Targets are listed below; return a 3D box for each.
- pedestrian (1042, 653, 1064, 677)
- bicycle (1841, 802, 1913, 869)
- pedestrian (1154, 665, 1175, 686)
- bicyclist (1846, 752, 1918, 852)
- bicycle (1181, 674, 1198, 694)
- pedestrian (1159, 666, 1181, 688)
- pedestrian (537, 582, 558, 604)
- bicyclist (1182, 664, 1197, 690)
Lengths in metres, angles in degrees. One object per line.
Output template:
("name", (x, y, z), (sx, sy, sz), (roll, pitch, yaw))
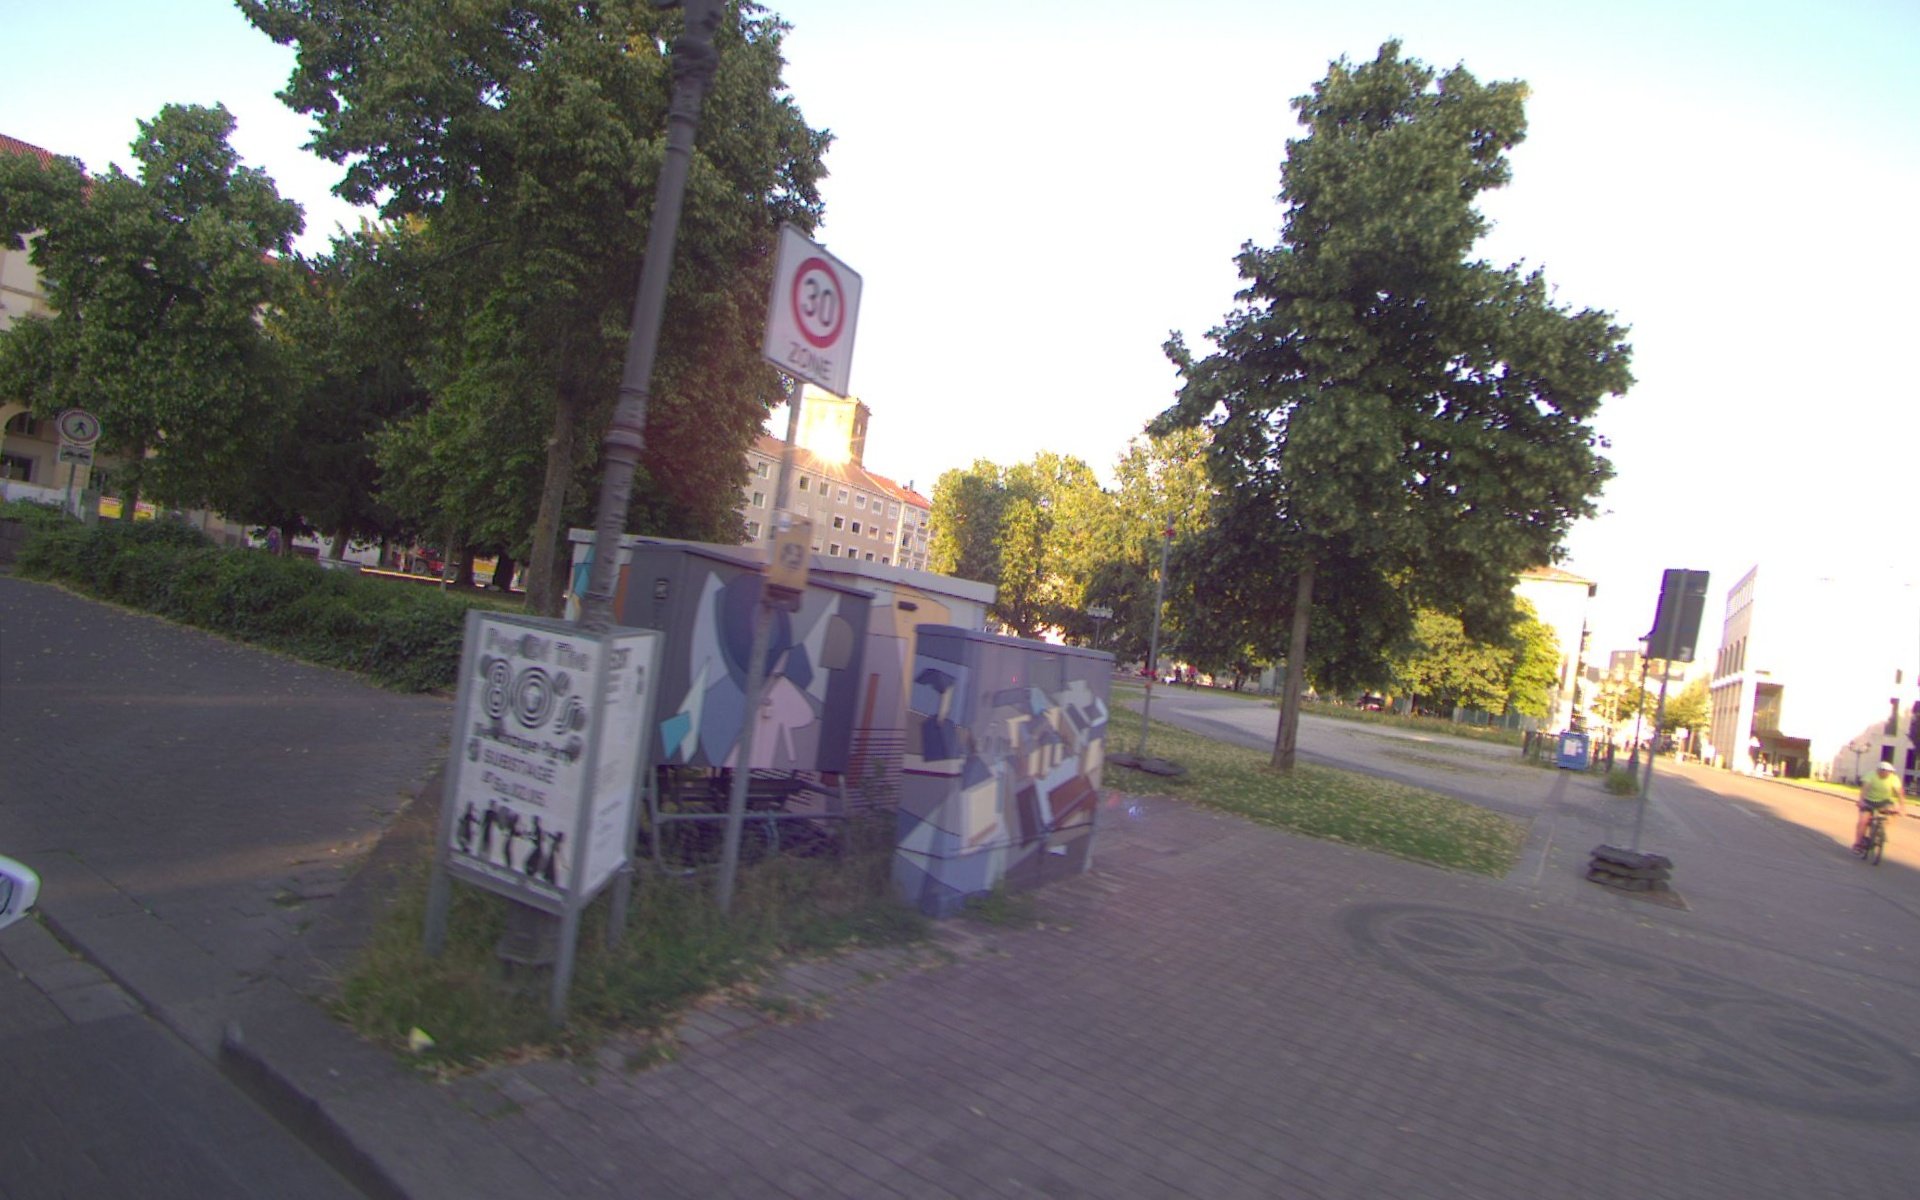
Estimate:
("pedestrian", (5.347, 3.756, 58.042), (0.724, 1.214, 1.104), (7, -1, 32))
("bicycle", (15.756, 4.034, 17.319), (0.537, 0.877, 1.711), (7, -2, 33))
("pedestrian", (15.174, 5.591, 74.623), (1.134, 1.386, 0.832), (9, -1, -20))
("bicyclist", (15.832, 3.442, 17.289), (0.641, 1.545, 0.723), (7, -1, 33))
("bicycle", (15.226, 5.572, 66.878), (0.555, 1.190, 1.776), (8, -1, 0))
("pedestrian", (15.417, 5.605, 73.699), (1.134, 1.386, 0.832), (9, -1, -20))
("pedestrian", (-26.696, -0.470, 65.092), (0.911, 1.266, 0.709), (7, -1, 29))
("bicyclist", (15.286, 5.112, 66.916), (0.647, 1.651, 0.677), (8, -1, -1))
